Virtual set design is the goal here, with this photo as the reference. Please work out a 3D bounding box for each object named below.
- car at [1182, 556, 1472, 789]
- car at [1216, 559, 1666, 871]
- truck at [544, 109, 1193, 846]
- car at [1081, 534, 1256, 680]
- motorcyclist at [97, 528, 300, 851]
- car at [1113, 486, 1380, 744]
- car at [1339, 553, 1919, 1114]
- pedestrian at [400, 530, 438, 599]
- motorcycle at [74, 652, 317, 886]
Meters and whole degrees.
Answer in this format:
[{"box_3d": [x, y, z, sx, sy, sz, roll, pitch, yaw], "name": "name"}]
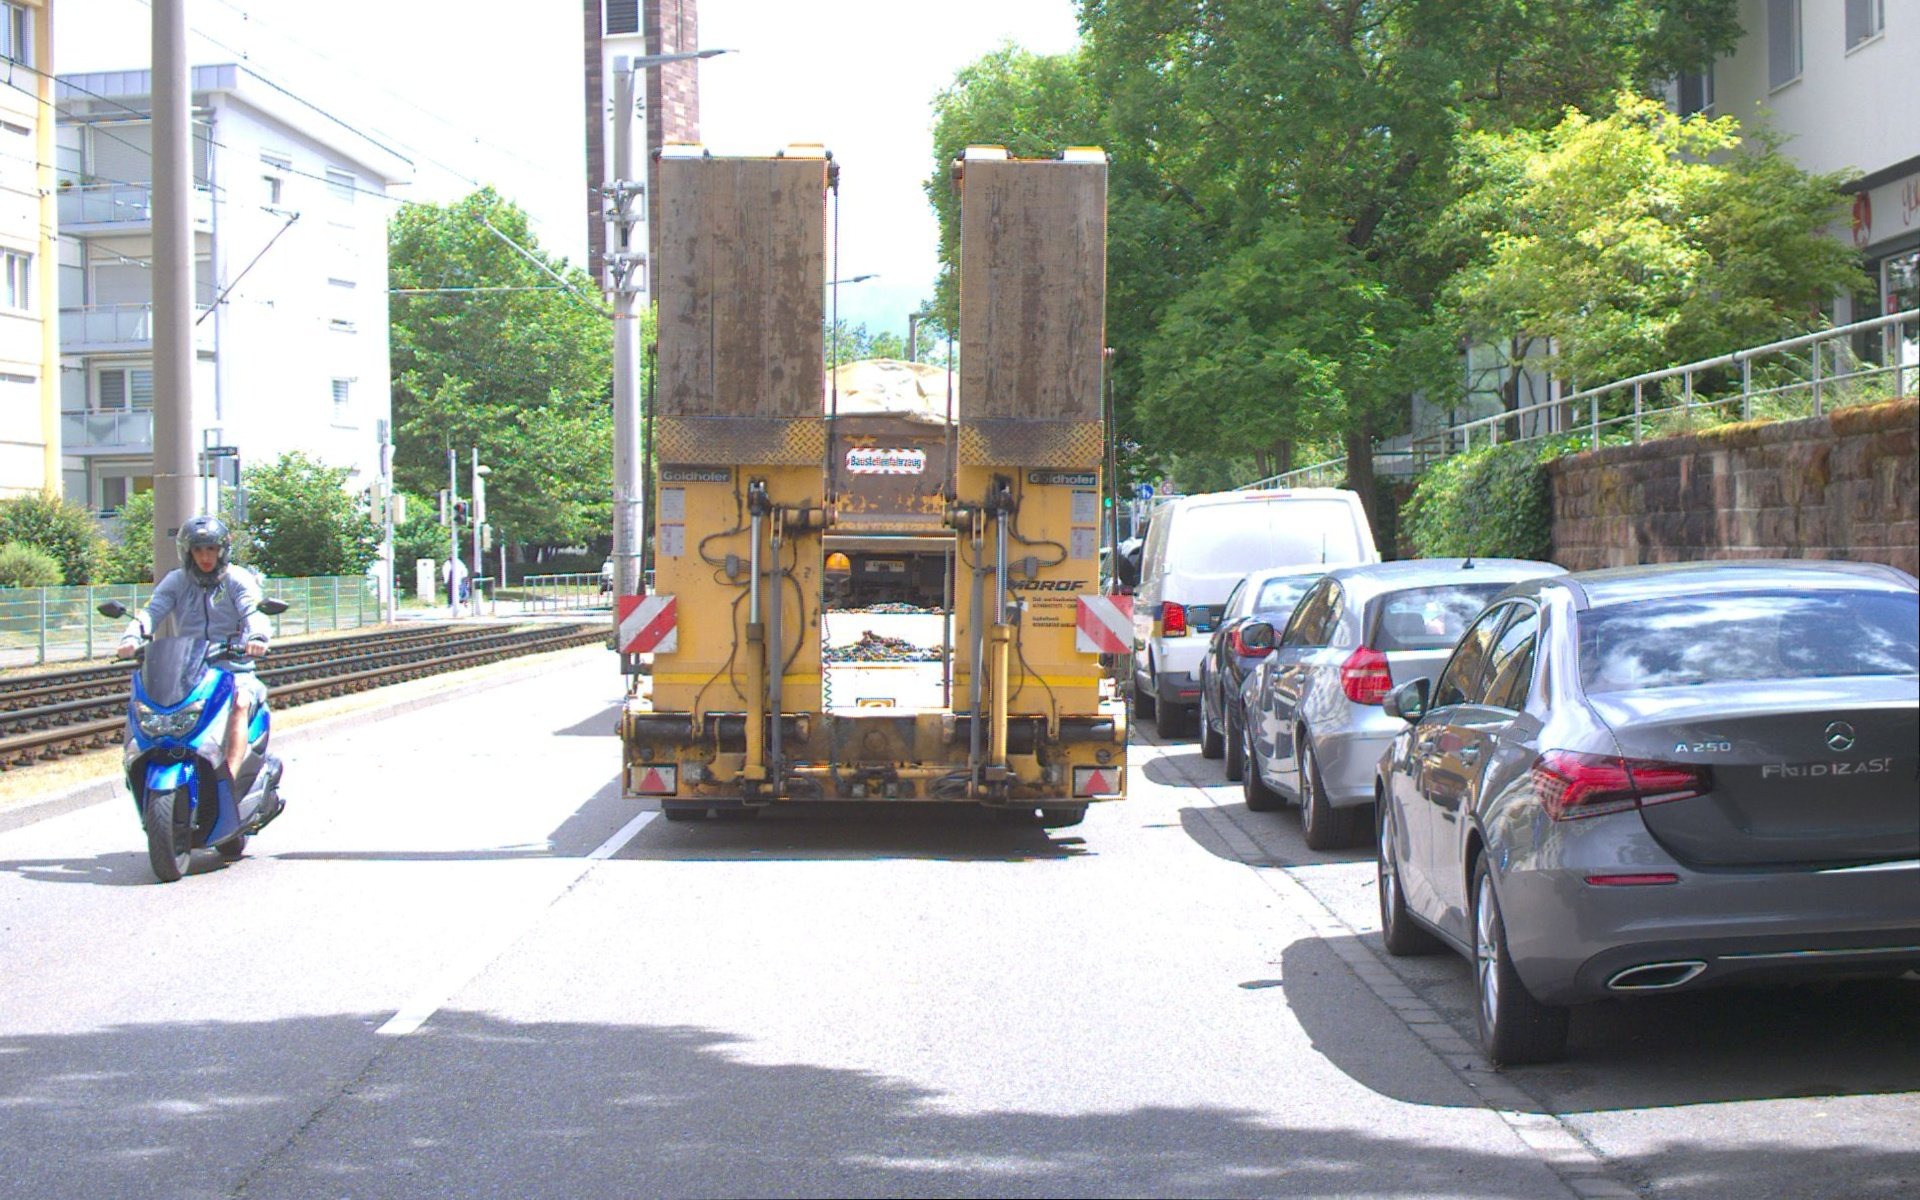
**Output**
[{"box_3d": [2.447, 0.435, 23.621, 1.621, 1.400, 3.650, -2, 1, 1], "name": "car"}, {"box_3d": [2.447, 0.524, 18.436, 1.690, 1.400, 4.069, -2, 1, -2], "name": "car"}, {"box_3d": [-0.607, -0.737, 22.920, 3.124, 3.552, 12.461, 0, 1, -2], "name": "truck"}, {"box_3d": [2.429, 0.041, 40.947, 1.799, 1.617, 4.292, 0, 1, 0], "name": "car"}, {"box_3d": [-3.540, 0.396, 16.045, 0.747, 1.462, 0.887, 0, 1, -1], "name": "motorcyclist"}, {"box_3d": [2.334, 0.065, 29.032, 1.799, 1.961, 4.590, -2, 1, 0], "name": "car"}, {"box_3d": [2.395, 0.590, 11.303, 1.836, 1.400, 4.414, -2, 1, 1], "name": "car"}, {"box_3d": [-15.791, -1.046, 100.260, 0.951, 2.007, 1.179, -1, 1, -15], "name": "pedestrian"}, {"box_3d": [-3.527, 0.754, 16.002, 0.747, 0.951, 1.832, 1, 1, -1], "name": "motorcycle"}]
